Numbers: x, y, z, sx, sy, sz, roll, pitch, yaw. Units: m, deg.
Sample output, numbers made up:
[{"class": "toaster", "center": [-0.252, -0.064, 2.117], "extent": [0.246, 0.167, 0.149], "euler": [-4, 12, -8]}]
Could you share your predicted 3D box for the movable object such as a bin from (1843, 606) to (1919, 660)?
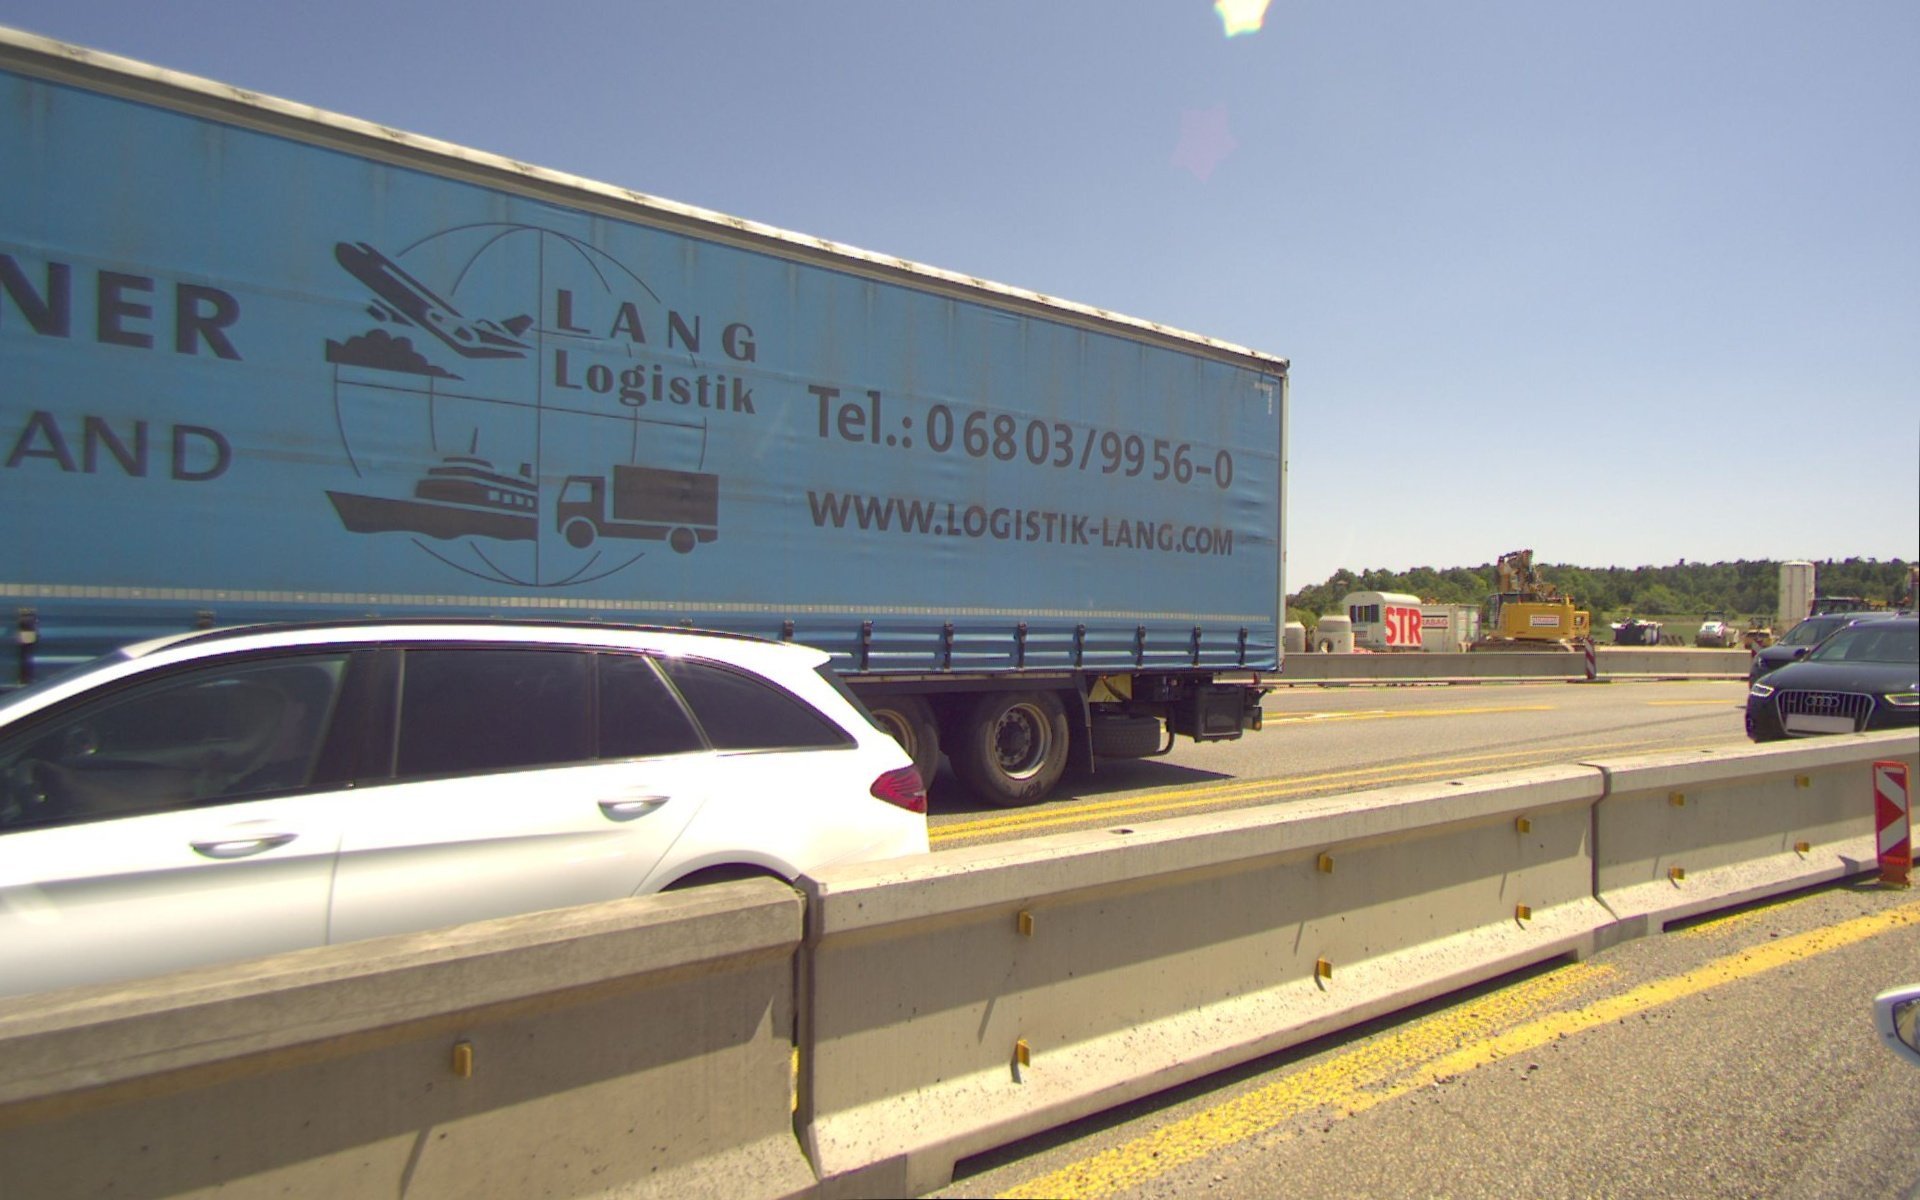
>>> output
[{"class": "movable object such as a bin", "center": [56.916, 1.933, 60.918], "extent": [4.930, 3.066, 3.649], "euler": [-1, 0, -29]}]

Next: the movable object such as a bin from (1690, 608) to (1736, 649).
[{"class": "movable object such as a bin", "center": [63.948, 2.363, 85.293], "extent": [2.395, 3.168, 5.450], "euler": [6, 4, 42]}]

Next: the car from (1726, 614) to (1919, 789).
[{"class": "car", "center": [10.703, 1.008, 11.079], "extent": [4.649, 1.629, 1.762], "euler": [1, -2, -27]}]

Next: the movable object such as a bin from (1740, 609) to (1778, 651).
[{"class": "movable object such as a bin", "center": [66.295, 2.431, 83.296], "extent": [1.971, 3.168, 3.735], "euler": [6, 4, 42]}]

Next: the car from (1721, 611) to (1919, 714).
[{"class": "car", "center": [16.984, 1.142, 19.030], "extent": [4.635, 1.788, 1.774], "euler": [1, -1, -18]}]

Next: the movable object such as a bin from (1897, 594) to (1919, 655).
[{"class": "movable object such as a bin", "center": [42.624, 1.160, 41.560], "extent": [5.352, 2.473, 3.290], "euler": [2, 2, -17]}]

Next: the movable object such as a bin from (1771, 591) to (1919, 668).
[{"class": "movable object such as a bin", "center": [38.089, 1.151, 42.064], "extent": [2.760, 2.800, 6.059], "euler": [2, 2, -8]}]

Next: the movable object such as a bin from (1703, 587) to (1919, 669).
[{"class": "movable object such as a bin", "center": [32.639, 0.951, 37.684], "extent": [3.645, 2.465, 7.929], "euler": [3, 2, 1]}]

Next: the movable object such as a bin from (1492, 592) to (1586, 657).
[{"class": "movable object such as a bin", "center": [26.894, 1.078, 46.803], "extent": [2.822, 2.764, 3.363], "euler": [3, 2, 14]}]

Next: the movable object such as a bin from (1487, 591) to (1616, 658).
[{"class": "movable object such as a bin", "center": [32.216, 1.274, 54.729], "extent": [5.492, 3.300, 3.775], "euler": [1, 2, -31]}]

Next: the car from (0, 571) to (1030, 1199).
[{"class": "car", "center": [-2.178, 0.696, 3.272], "extent": [4.543, 1.464, 2.002], "euler": [1, 3, -36]}]

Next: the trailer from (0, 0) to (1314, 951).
[{"class": "trailer", "center": [-3.014, -0.518, 6.950], "extent": [13.776, 4.183, 2.895], "euler": [1, -1, -35]}]
